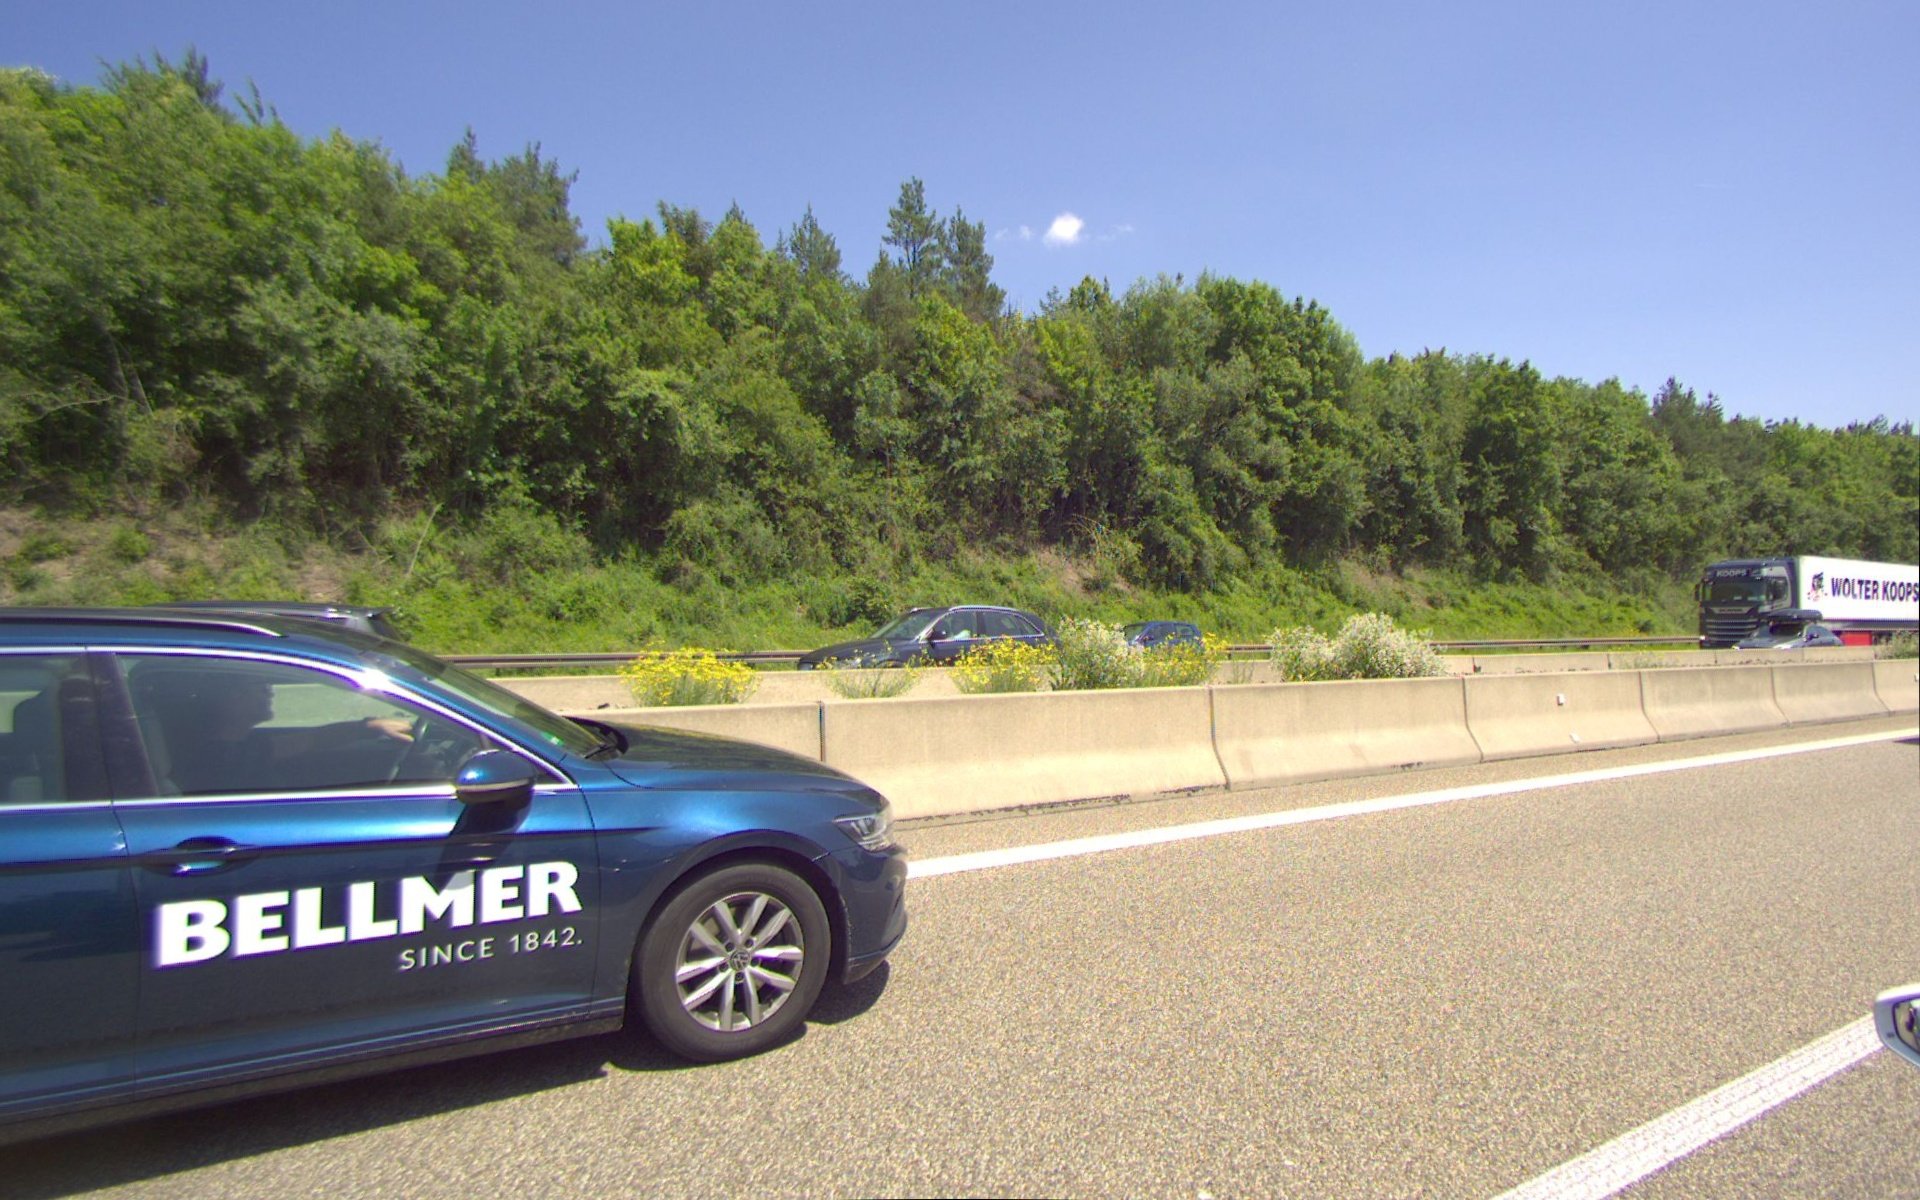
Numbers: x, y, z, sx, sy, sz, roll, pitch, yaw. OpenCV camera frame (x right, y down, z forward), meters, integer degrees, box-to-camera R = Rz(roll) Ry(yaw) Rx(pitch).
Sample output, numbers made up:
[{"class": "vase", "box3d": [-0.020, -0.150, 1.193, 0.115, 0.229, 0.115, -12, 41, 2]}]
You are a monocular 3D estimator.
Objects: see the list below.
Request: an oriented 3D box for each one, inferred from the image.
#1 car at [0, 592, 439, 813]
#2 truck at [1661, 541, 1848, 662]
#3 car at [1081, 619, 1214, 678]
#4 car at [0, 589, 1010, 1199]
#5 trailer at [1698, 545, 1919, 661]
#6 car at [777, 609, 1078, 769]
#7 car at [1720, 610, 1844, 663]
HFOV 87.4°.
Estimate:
[{"class": "car", "box3d": [-6.599, 0.837, 8.815, 3.502, 1.648, 1.635, 2, -3, -30]}, {"class": "truck", "box3d": [32.890, 0.250, 41.562, 7.243, 4.587, 3.706, 2, -3, -31]}, {"class": "car", "box3d": [5.279, 1.332, 28.177, 3.664, 1.528, 1.403, 1, 0, -30]}, {"class": "car", "box3d": [-2.252, 0.739, 3.233, 4.674, 1.446, 1.724, 1, -3, -30]}, {"class": "trailer", "box3d": [38.199, 0.393, 44.744, 13.177, 4.587, 3.707, 2, -3, -31]}, {"class": "car", "box3d": [-0.451, 1.241, 14.714, 3.953, 2.040, 1.984, 2, -3, -30]}, {"class": "car", "box3d": [26.777, 1.227, 32.693, 4.462, 1.628, 1.679, 2, -3, -31]}]
